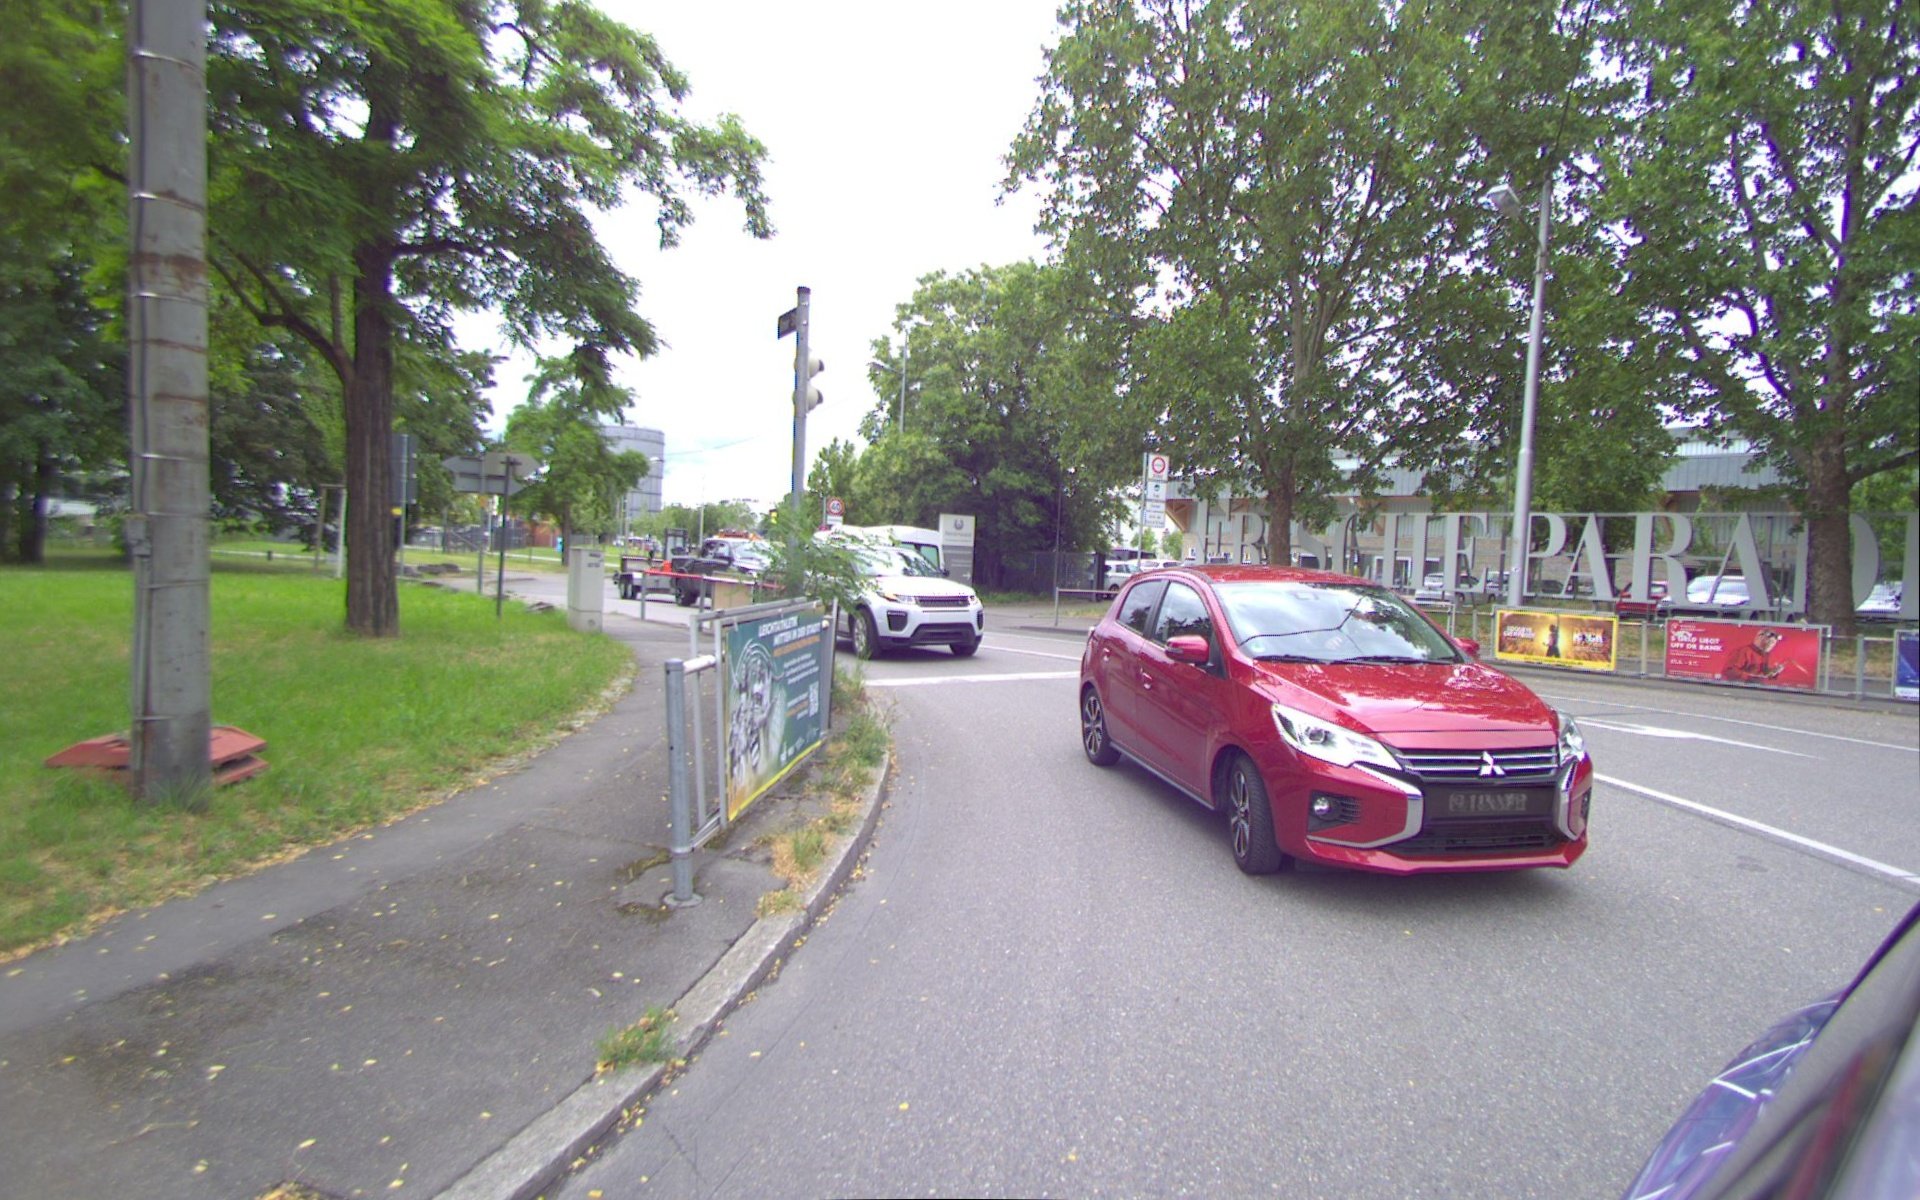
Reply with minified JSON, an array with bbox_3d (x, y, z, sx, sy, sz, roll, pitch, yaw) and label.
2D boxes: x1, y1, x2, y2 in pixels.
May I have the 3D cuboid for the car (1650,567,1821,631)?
[{"bbox_3d":[19.481,-0.070,25.368,4.609,1.475,2.001,-1,1,-33],"label":"car"}]

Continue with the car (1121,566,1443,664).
[{"bbox_3d":[5.455,0.336,17.868,1.964,1.476,5.214,2,-3,-39],"label":"car"}]

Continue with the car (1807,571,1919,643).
[{"bbox_3d":[21.059,0.106,22.644,4.609,1.475,2.001,-1,1,-33],"label":"car"}]

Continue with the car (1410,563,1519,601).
[{"bbox_3d":[20.869,-0.742,41.774,5.154,1.449,1.938,-1,1,-37],"label":"car"}]

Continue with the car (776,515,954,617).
[{"bbox_3d":[-2.869,-0.885,28.775,2.151,2.573,6.484,-1,1,-34],"label":"car"}]

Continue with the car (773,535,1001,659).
[{"bbox_3d":[-1.276,-0.178,15.627,1.879,1.588,4.120,-2,5,-30],"label":"car"}]

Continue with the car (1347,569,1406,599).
[{"bbox_3d":[23.862,-0.923,57.962,3.510,1.705,1.750,-1,1,-42],"label":"car"}]

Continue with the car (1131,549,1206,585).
[{"bbox_3d":[11.199,-1.777,54.183,3.931,1.721,1.914,1,3,-42],"label":"car"}]

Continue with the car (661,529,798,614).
[{"bbox_3d":[-6.427,-0.879,27.584,1.912,2.003,5.880,0,4,-31],"label":"car"}]

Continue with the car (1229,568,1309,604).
[{"bbox_3d":[14.963,-0.671,48.977,3.931,1.526,1.914,1,3,-42],"label":"car"}]

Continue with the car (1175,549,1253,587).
[{"bbox_3d":[12.874,-1.595,51.283,3.931,1.721,1.914,1,3,-42],"label":"car"}]

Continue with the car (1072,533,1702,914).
[{"bbox_3d":[2.020,0.437,6.076,1.732,1.549,3.747,1,2,-9],"label":"car"}]

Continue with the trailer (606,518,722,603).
[{"bbox_3d":[-9.541,-1.307,32.306,2.108,2.416,5.395,2,2,-32],"label":"trailer"}]
